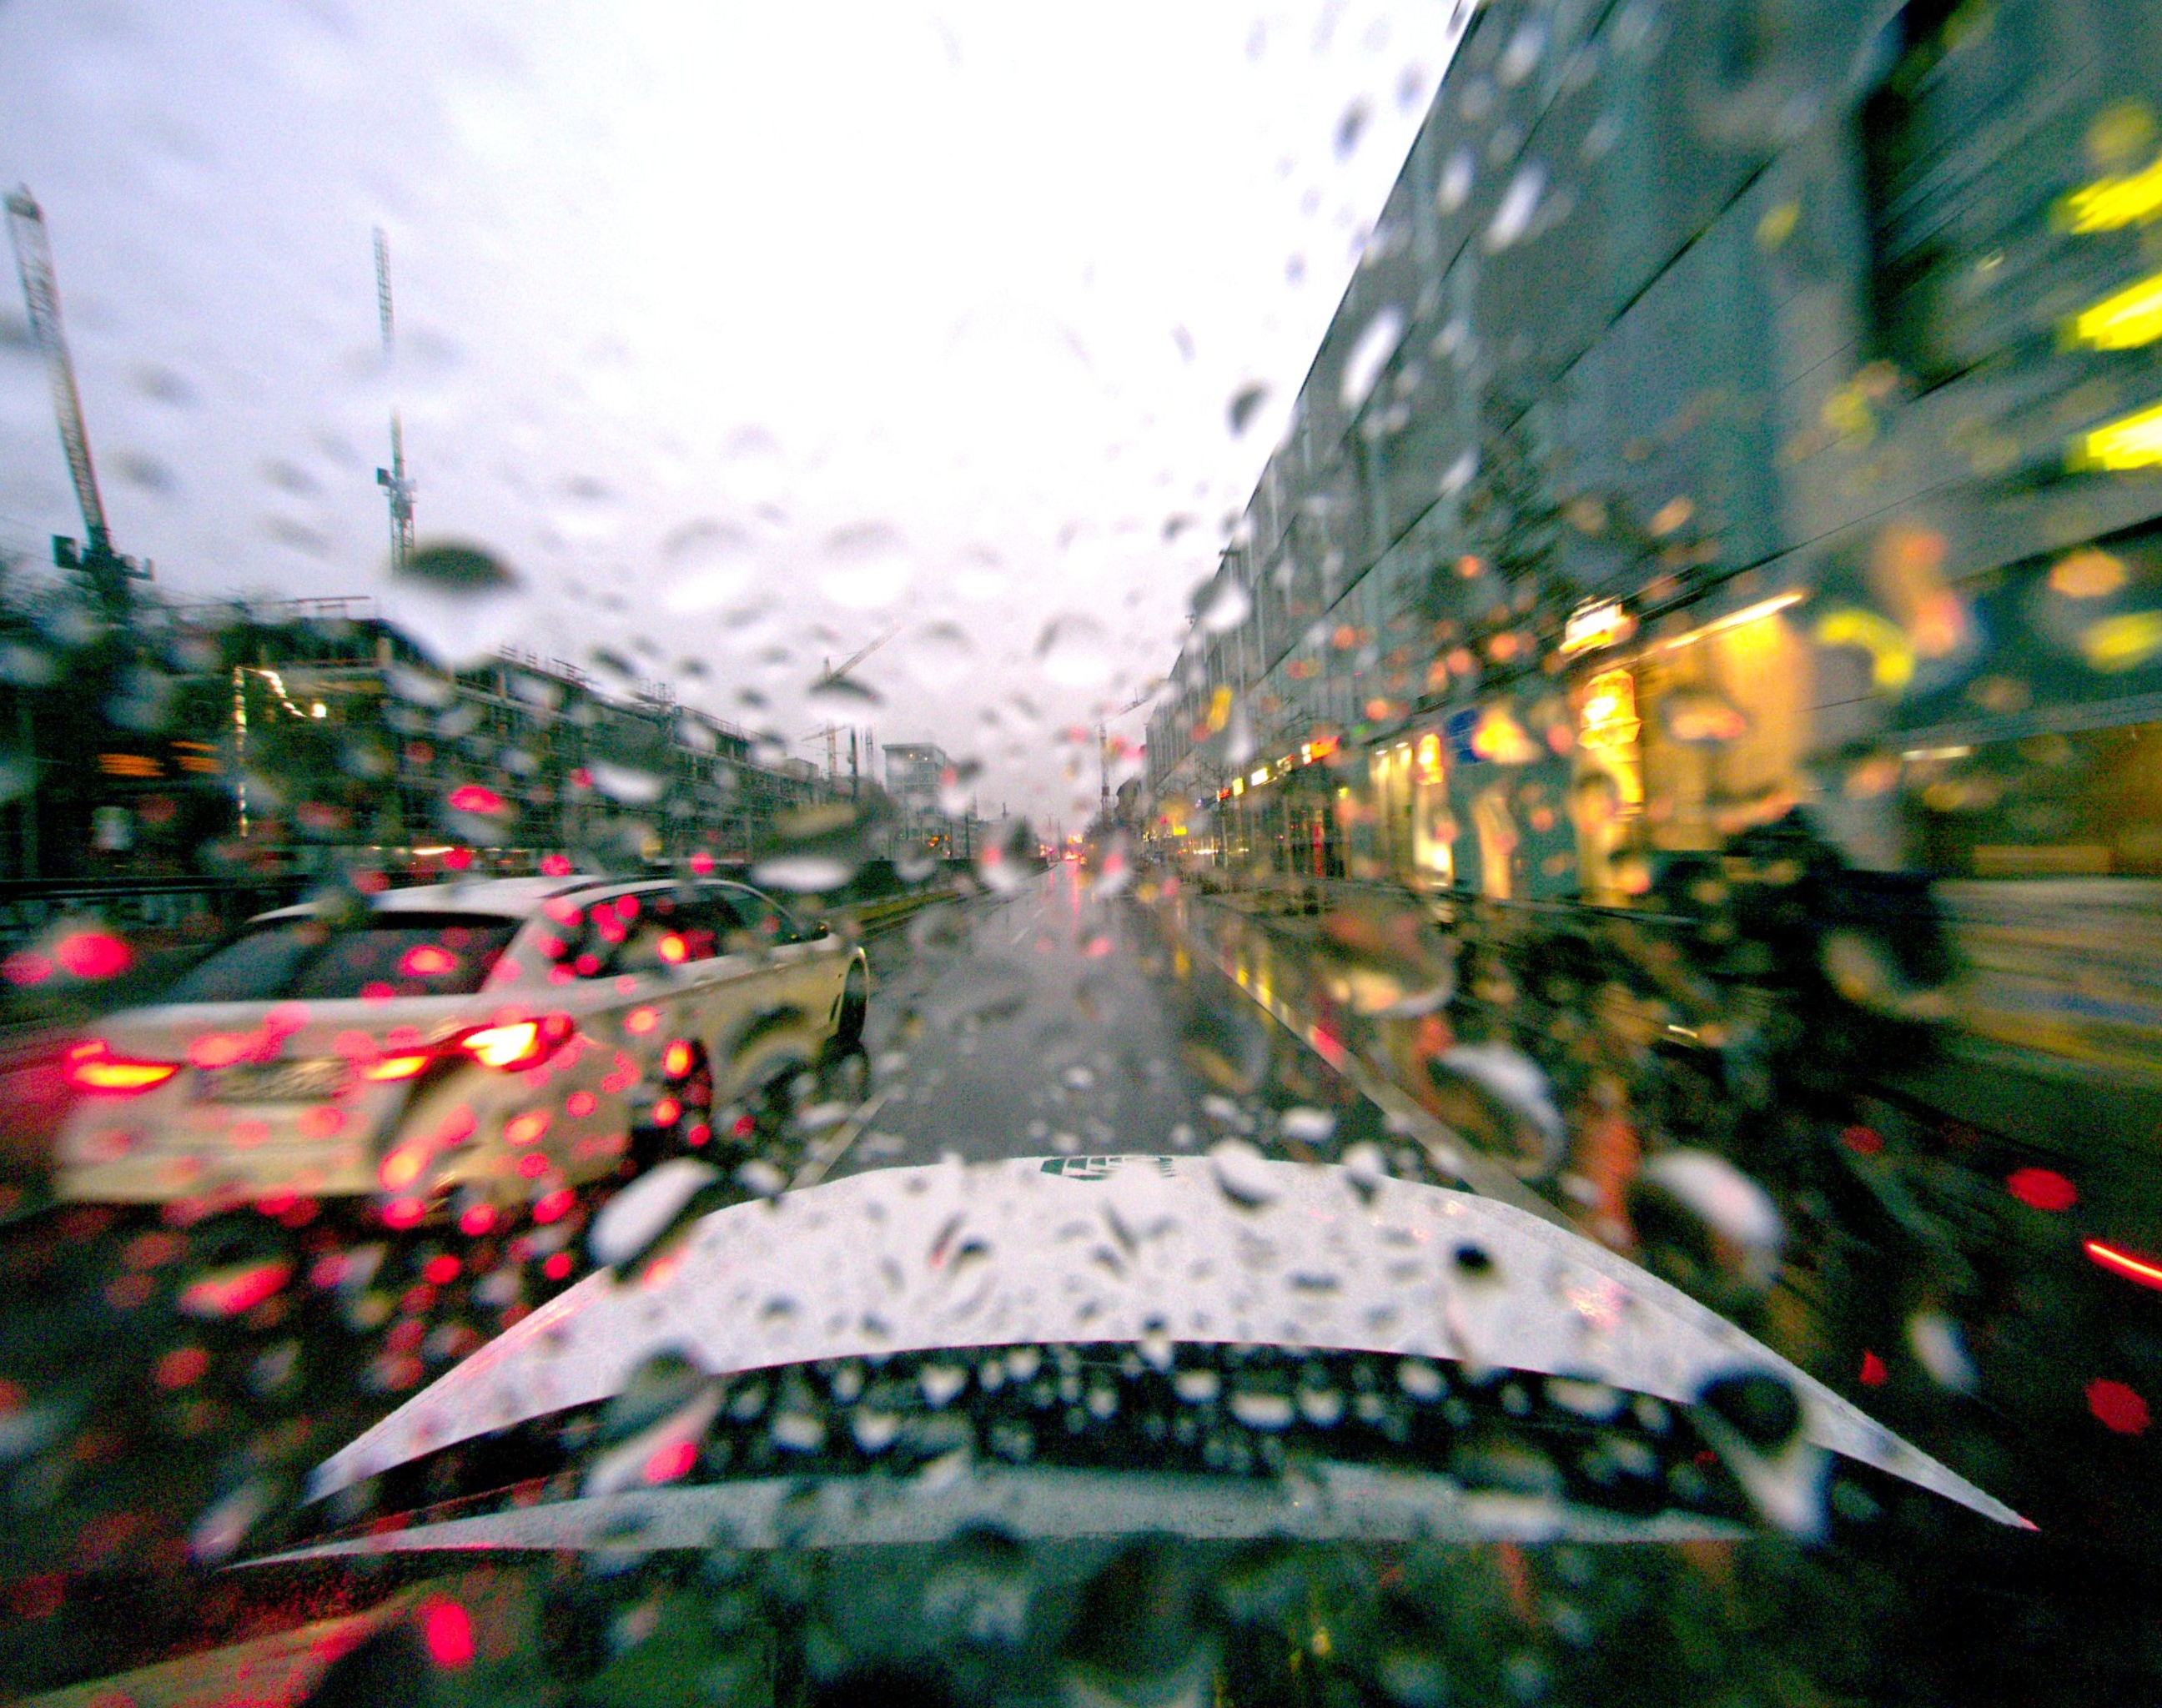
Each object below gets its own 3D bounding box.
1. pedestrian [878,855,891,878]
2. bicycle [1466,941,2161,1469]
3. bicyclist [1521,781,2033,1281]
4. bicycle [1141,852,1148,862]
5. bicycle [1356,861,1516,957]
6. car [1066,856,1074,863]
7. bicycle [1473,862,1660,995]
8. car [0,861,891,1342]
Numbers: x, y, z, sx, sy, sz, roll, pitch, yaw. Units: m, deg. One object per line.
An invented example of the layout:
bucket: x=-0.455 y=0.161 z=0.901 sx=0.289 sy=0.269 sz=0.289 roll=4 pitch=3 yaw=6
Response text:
pedestrian: x=-13.420 y=0.877 z=55.602 sx=0.580 sy=1.550 sz=0.742 roll=-2 pitch=0 yaw=11
bicycle: x=2.365 y=0.955 z=3.061 sx=0.938 sy=0.999 sz=2.244 roll=-2 pitch=0 yaw=5
bicyclist: x=2.343 y=0.531 z=2.952 sx=0.938 sy=1.463 sz=1.068 roll=-2 pitch=0 yaw=5
bicycle: x=8.697 y=0.425 z=111.590 sx=0.680 sy=1.222 sz=1.904 roll=-5 pitch=-1 yaw=-1
bicycle: x=4.942 y=0.751 z=11.416 sx=1.897 sy=1.175 sz=0.666 roll=-4 pitch=0 yaw=-1
car: x=-2.640 y=1.333 z=200.502 sx=1.895 sy=1.642 sz=4.000 roll=-2 pitch=0 yaw=0
bicycle: x=5.123 y=0.740 z=8.661 sx=0.670 sy=1.261 sz=1.540 roll=-2 pitch=0 yaw=-42
car: x=-2.763 y=0.819 z=5.085 sx=1.845 sy=1.465 sz=4.948 roll=-2 pitch=0 yaw=1
